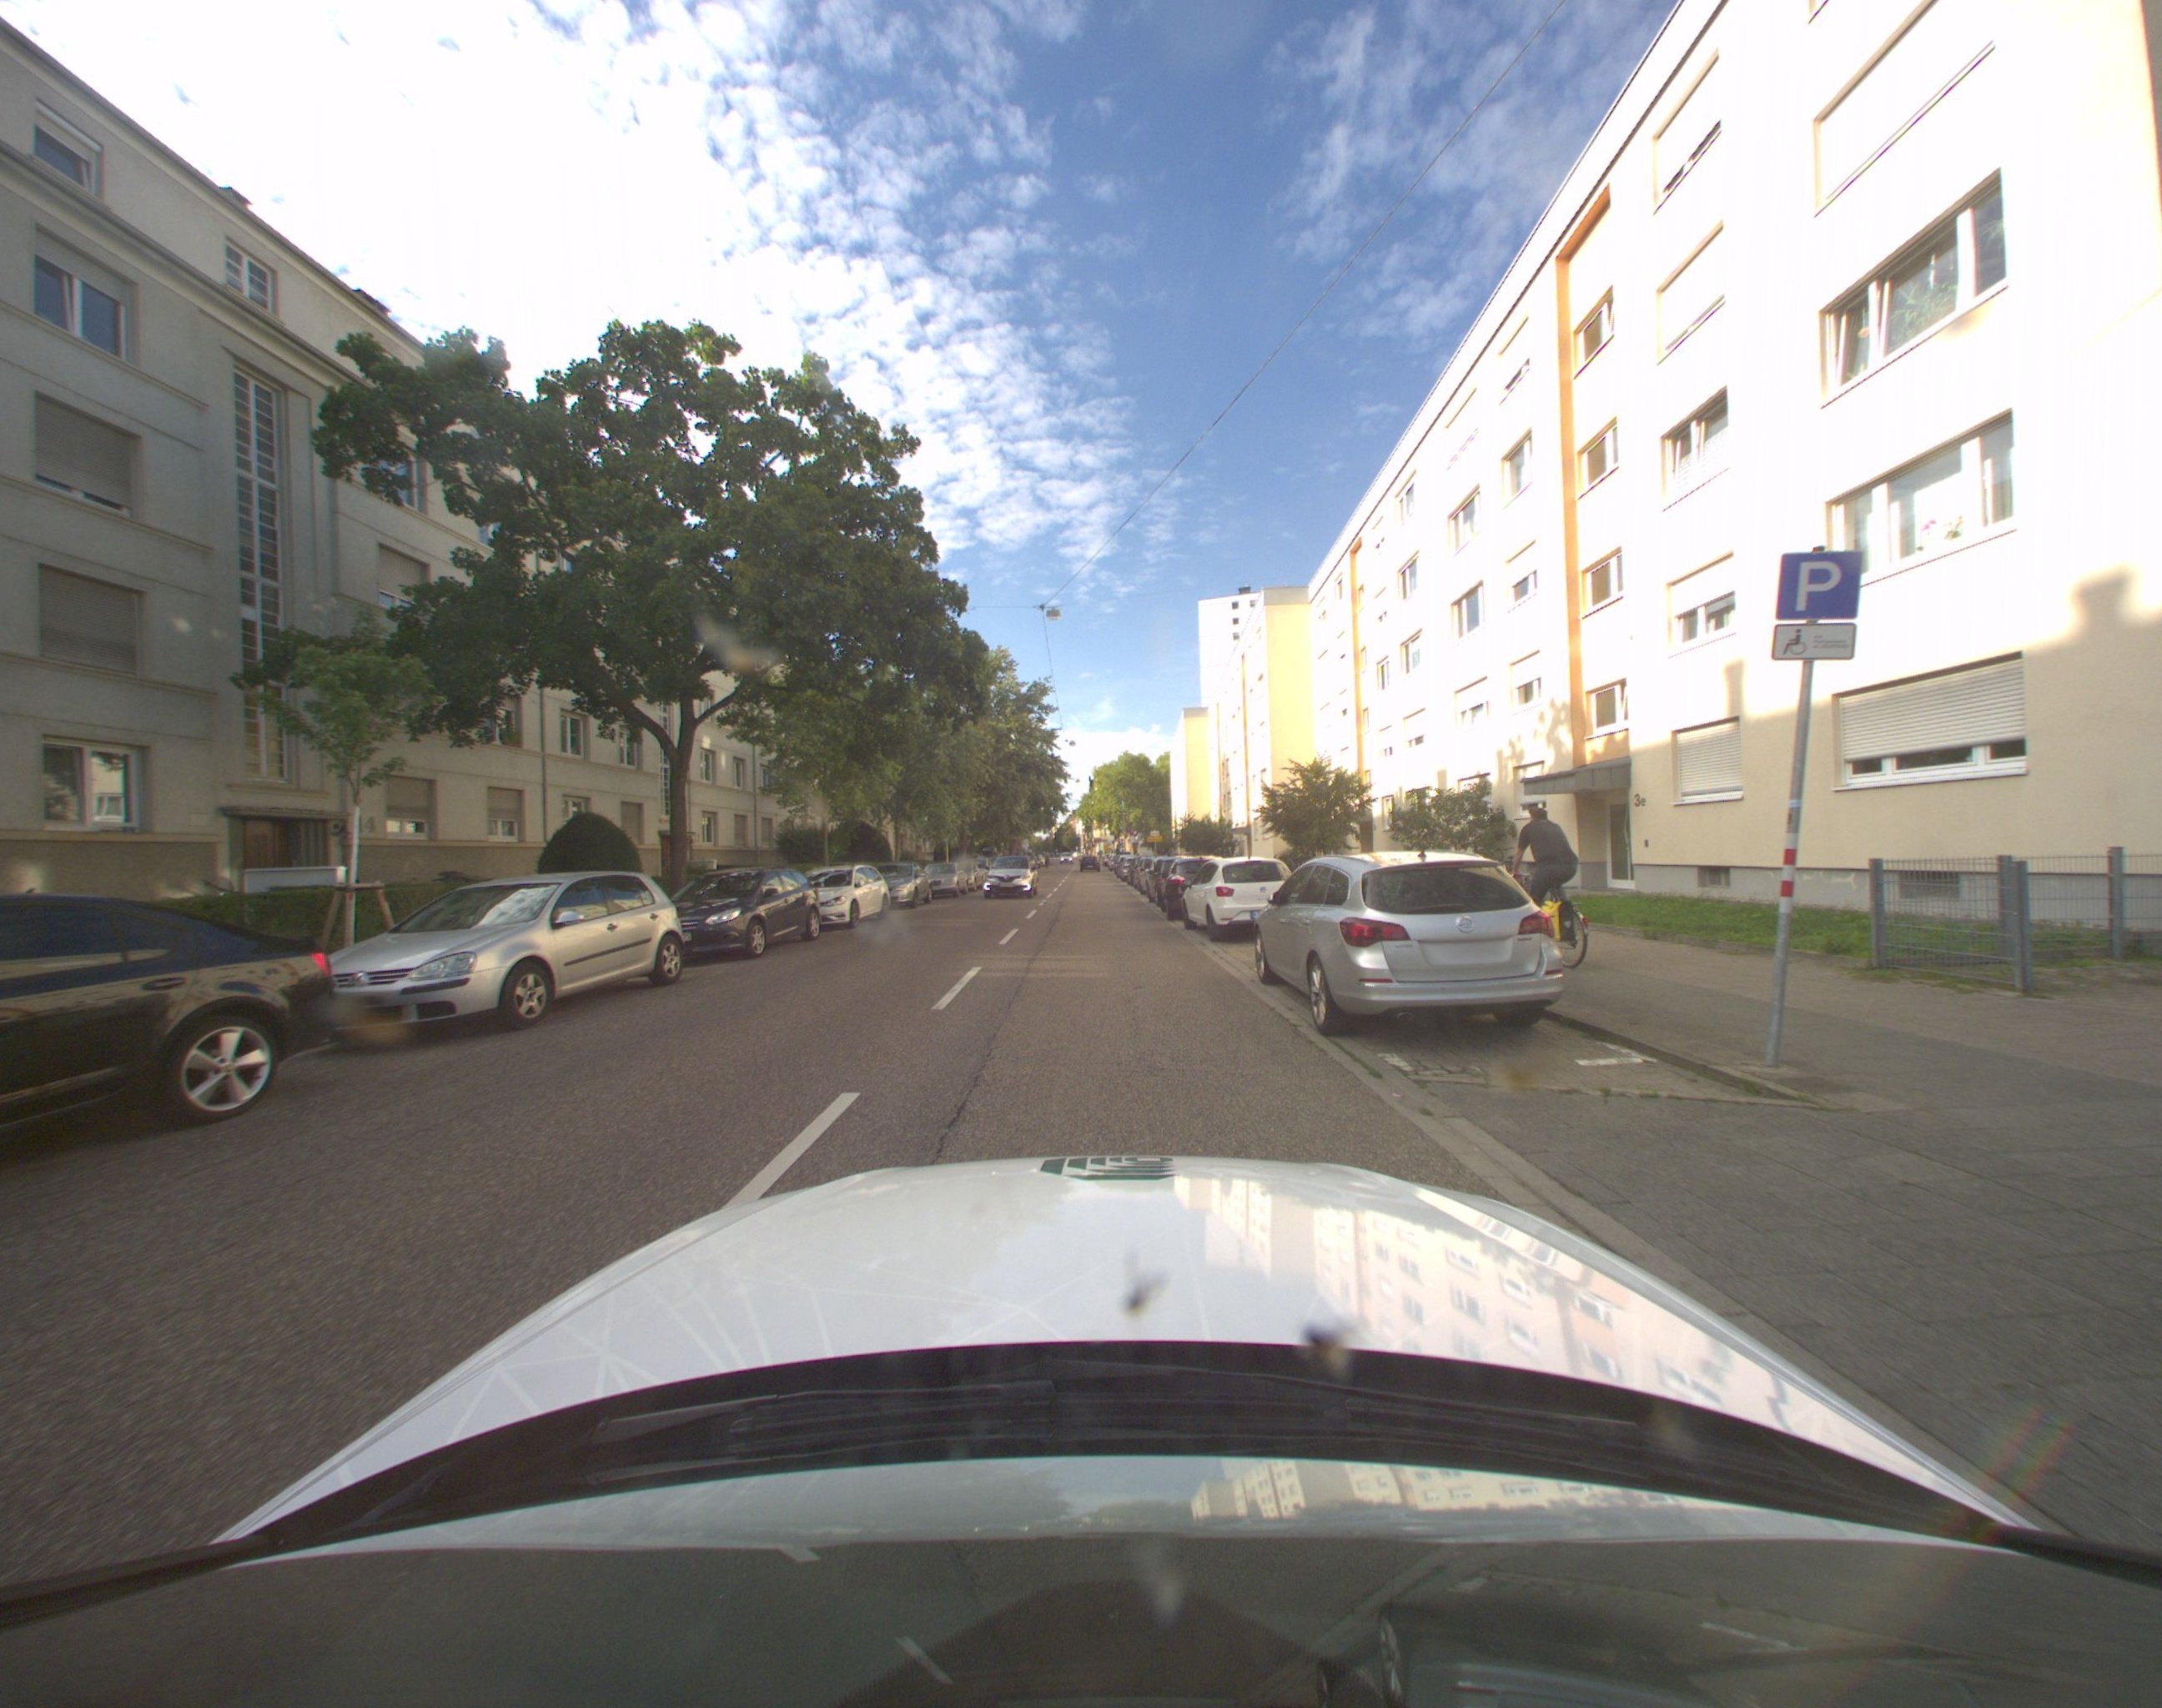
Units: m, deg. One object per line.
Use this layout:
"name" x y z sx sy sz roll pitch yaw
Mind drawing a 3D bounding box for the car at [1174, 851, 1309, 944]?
"car" 2.927 0.725 15.721 1.679 1.468 4.204 -3 0 -1

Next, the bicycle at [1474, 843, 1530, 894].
"bicycle" 10.475 0.369 20.318 0.520 1.216 1.590 -3 -2 0

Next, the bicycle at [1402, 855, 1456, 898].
"bicycle" 8.652 0.563 20.324 0.594 0.998 1.692 -1 -2 0

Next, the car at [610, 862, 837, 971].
"car" -5.970 0.936 14.345 1.849 1.486 4.683 -2 0 0

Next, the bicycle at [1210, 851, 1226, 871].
"bicycle" 9.678 0.481 57.516 0.593 1.291 2.635 -4 0 1

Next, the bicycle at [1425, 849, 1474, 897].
"bicycle" 9.205 0.481 20.383 0.443 1.137 1.590 -3 -2 0

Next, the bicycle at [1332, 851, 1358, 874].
"bicycle" 12.454 0.389 38.517 0.499 1.030 2.135 -5 0 1

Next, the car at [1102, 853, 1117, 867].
"car" 3.332 0.661 94.648 1.683 1.528 4.241 -2 0 3

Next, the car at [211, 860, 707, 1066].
"car" -6.004 0.894 8.730 1.814 1.486 4.369 -4 0 1

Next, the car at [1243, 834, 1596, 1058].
"car" 2.847 0.651 7.984 1.756 1.523 4.332 -3 0 2

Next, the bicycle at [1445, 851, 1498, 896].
"bicycle" 9.761 0.488 20.407 0.520 1.074 1.590 -3 -2 0

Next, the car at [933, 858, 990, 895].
"car" -5.648 1.022 39.142 1.849 1.486 4.944 -5 0 0

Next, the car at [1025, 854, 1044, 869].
"car" -5.133 0.763 90.083 1.694 1.487 3.849 -4 0 1

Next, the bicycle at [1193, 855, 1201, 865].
"bicycle" 10.798 0.528 75.685 0.457 0.927 1.516 -3 0 0

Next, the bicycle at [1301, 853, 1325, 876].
"bicycle" 11.005 0.469 38.637 0.500 1.030 2.026 -4 0 0

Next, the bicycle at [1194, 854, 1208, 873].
"bicycle" 8.445 0.626 57.517 0.602 1.291 2.635 -2 0 1

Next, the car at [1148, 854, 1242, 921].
"car" 2.795 0.769 20.818 1.679 1.435 4.204 -3 0 -1

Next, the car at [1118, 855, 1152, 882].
"car" 3.141 0.813 47.947 1.656 1.416 4.058 -3 0 0

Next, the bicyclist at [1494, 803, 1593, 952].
"bicyclist" 5.464 0.266 9.668 0.621 1.678 0.893 -1 0 -1

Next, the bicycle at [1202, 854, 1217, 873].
"bicycle" 9.080 0.648 57.534 0.602 1.291 2.635 -3 0 1

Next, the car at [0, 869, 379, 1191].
"car" -6.121 0.914 3.746 1.922 1.486 4.418 -4 0 -1

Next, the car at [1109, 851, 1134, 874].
"car" 3.147 0.649 63.879 1.723 1.649 4.115 -3 0 0

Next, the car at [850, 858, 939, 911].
"car" -6.033 0.939 26.888 1.850 1.486 4.681 -3 0 -1

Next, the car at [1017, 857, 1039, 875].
"car" -5.462 1.257 84.636 1.793 1.668 4.484 -4 0 1

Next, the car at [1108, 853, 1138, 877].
"car" 2.833 0.711 55.642 1.724 1.515 4.189 -3 0 -1

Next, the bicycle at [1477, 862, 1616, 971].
"bicycle" 5.474 0.677 9.712 0.522 1.135 1.929 -1 0 0

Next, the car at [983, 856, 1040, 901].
"car" -2.525 0.854 30.402 1.735 1.501 4.009 -2 0 0

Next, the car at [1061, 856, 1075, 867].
"car" -1.816 1.062 118.231 1.852 1.528 4.012 -1 0 1

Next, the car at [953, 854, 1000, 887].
"car" -5.620 0.869 44.311 1.848 1.573 4.461 -3 0 1

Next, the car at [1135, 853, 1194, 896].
"car" 3.116 0.722 31.117 1.695 1.463 4.177 -3 0 -2

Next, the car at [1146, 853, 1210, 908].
"car" 2.982 0.769 25.677 1.677 1.501 3.876 -3 0 2

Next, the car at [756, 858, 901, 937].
"car" -5.910 0.937 19.733 1.849 1.486 4.798 -5 0 0

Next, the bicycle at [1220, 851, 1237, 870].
"bicycle" 10.400 0.425 57.522 0.724 1.291 2.635 -2 0 1

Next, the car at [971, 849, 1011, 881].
"car" -5.493 0.629 50.168 1.871 1.793 4.969 -4 0 -1

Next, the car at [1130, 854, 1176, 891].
"car" 3.181 0.770 36.553 1.678 1.485 4.293 -3 0 0

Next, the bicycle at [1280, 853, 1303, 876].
"bicycle" 9.973 0.485 38.654 0.500 1.030 2.095 -4 0 0

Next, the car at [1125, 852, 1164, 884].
"car" 3.208 0.693 41.630 1.656 1.491 3.941 -3 0 0

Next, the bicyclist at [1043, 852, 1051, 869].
"bicyclist" -3.365 0.649 80.663 0.639 1.600 0.990 -2 0 1

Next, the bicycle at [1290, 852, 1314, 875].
"bicycle" 10.492 0.447 38.653 0.500 1.030 2.069 -4 0 0

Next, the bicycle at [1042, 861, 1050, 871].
"bicycle" -3.438 1.167 80.638 0.640 0.923 1.858 -2 0 1

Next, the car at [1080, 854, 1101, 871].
"car" 0.798 0.727 71.669 1.746 1.413 3.999 -1 0 -1

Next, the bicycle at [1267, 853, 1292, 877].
"bicycle" 9.379 0.506 38.547 0.591 1.030 2.119 -4 0 0

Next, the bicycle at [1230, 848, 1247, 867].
"bicycle" 11.116 0.229 57.589 0.724 1.291 2.635 -1 0 1

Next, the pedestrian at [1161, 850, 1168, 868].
"pedestrian" 7.987 0.447 77.766 0.539 1.721 0.772 -2 0 6

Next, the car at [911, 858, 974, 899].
"car" -5.641 0.952 33.710 1.733 1.393 4.665 -4 0 0

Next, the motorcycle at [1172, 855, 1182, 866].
"motorcycle" 8.922 0.610 75.696 0.628 1.044 2.393 -2 0 0

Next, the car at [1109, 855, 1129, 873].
"car" 3.427 0.905 73.874 1.722 1.487 4.643 -3 0 2

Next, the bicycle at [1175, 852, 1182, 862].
"bicycle" 11.376 0.332 94.954 0.527 1.115 2.209 -3 0 1
